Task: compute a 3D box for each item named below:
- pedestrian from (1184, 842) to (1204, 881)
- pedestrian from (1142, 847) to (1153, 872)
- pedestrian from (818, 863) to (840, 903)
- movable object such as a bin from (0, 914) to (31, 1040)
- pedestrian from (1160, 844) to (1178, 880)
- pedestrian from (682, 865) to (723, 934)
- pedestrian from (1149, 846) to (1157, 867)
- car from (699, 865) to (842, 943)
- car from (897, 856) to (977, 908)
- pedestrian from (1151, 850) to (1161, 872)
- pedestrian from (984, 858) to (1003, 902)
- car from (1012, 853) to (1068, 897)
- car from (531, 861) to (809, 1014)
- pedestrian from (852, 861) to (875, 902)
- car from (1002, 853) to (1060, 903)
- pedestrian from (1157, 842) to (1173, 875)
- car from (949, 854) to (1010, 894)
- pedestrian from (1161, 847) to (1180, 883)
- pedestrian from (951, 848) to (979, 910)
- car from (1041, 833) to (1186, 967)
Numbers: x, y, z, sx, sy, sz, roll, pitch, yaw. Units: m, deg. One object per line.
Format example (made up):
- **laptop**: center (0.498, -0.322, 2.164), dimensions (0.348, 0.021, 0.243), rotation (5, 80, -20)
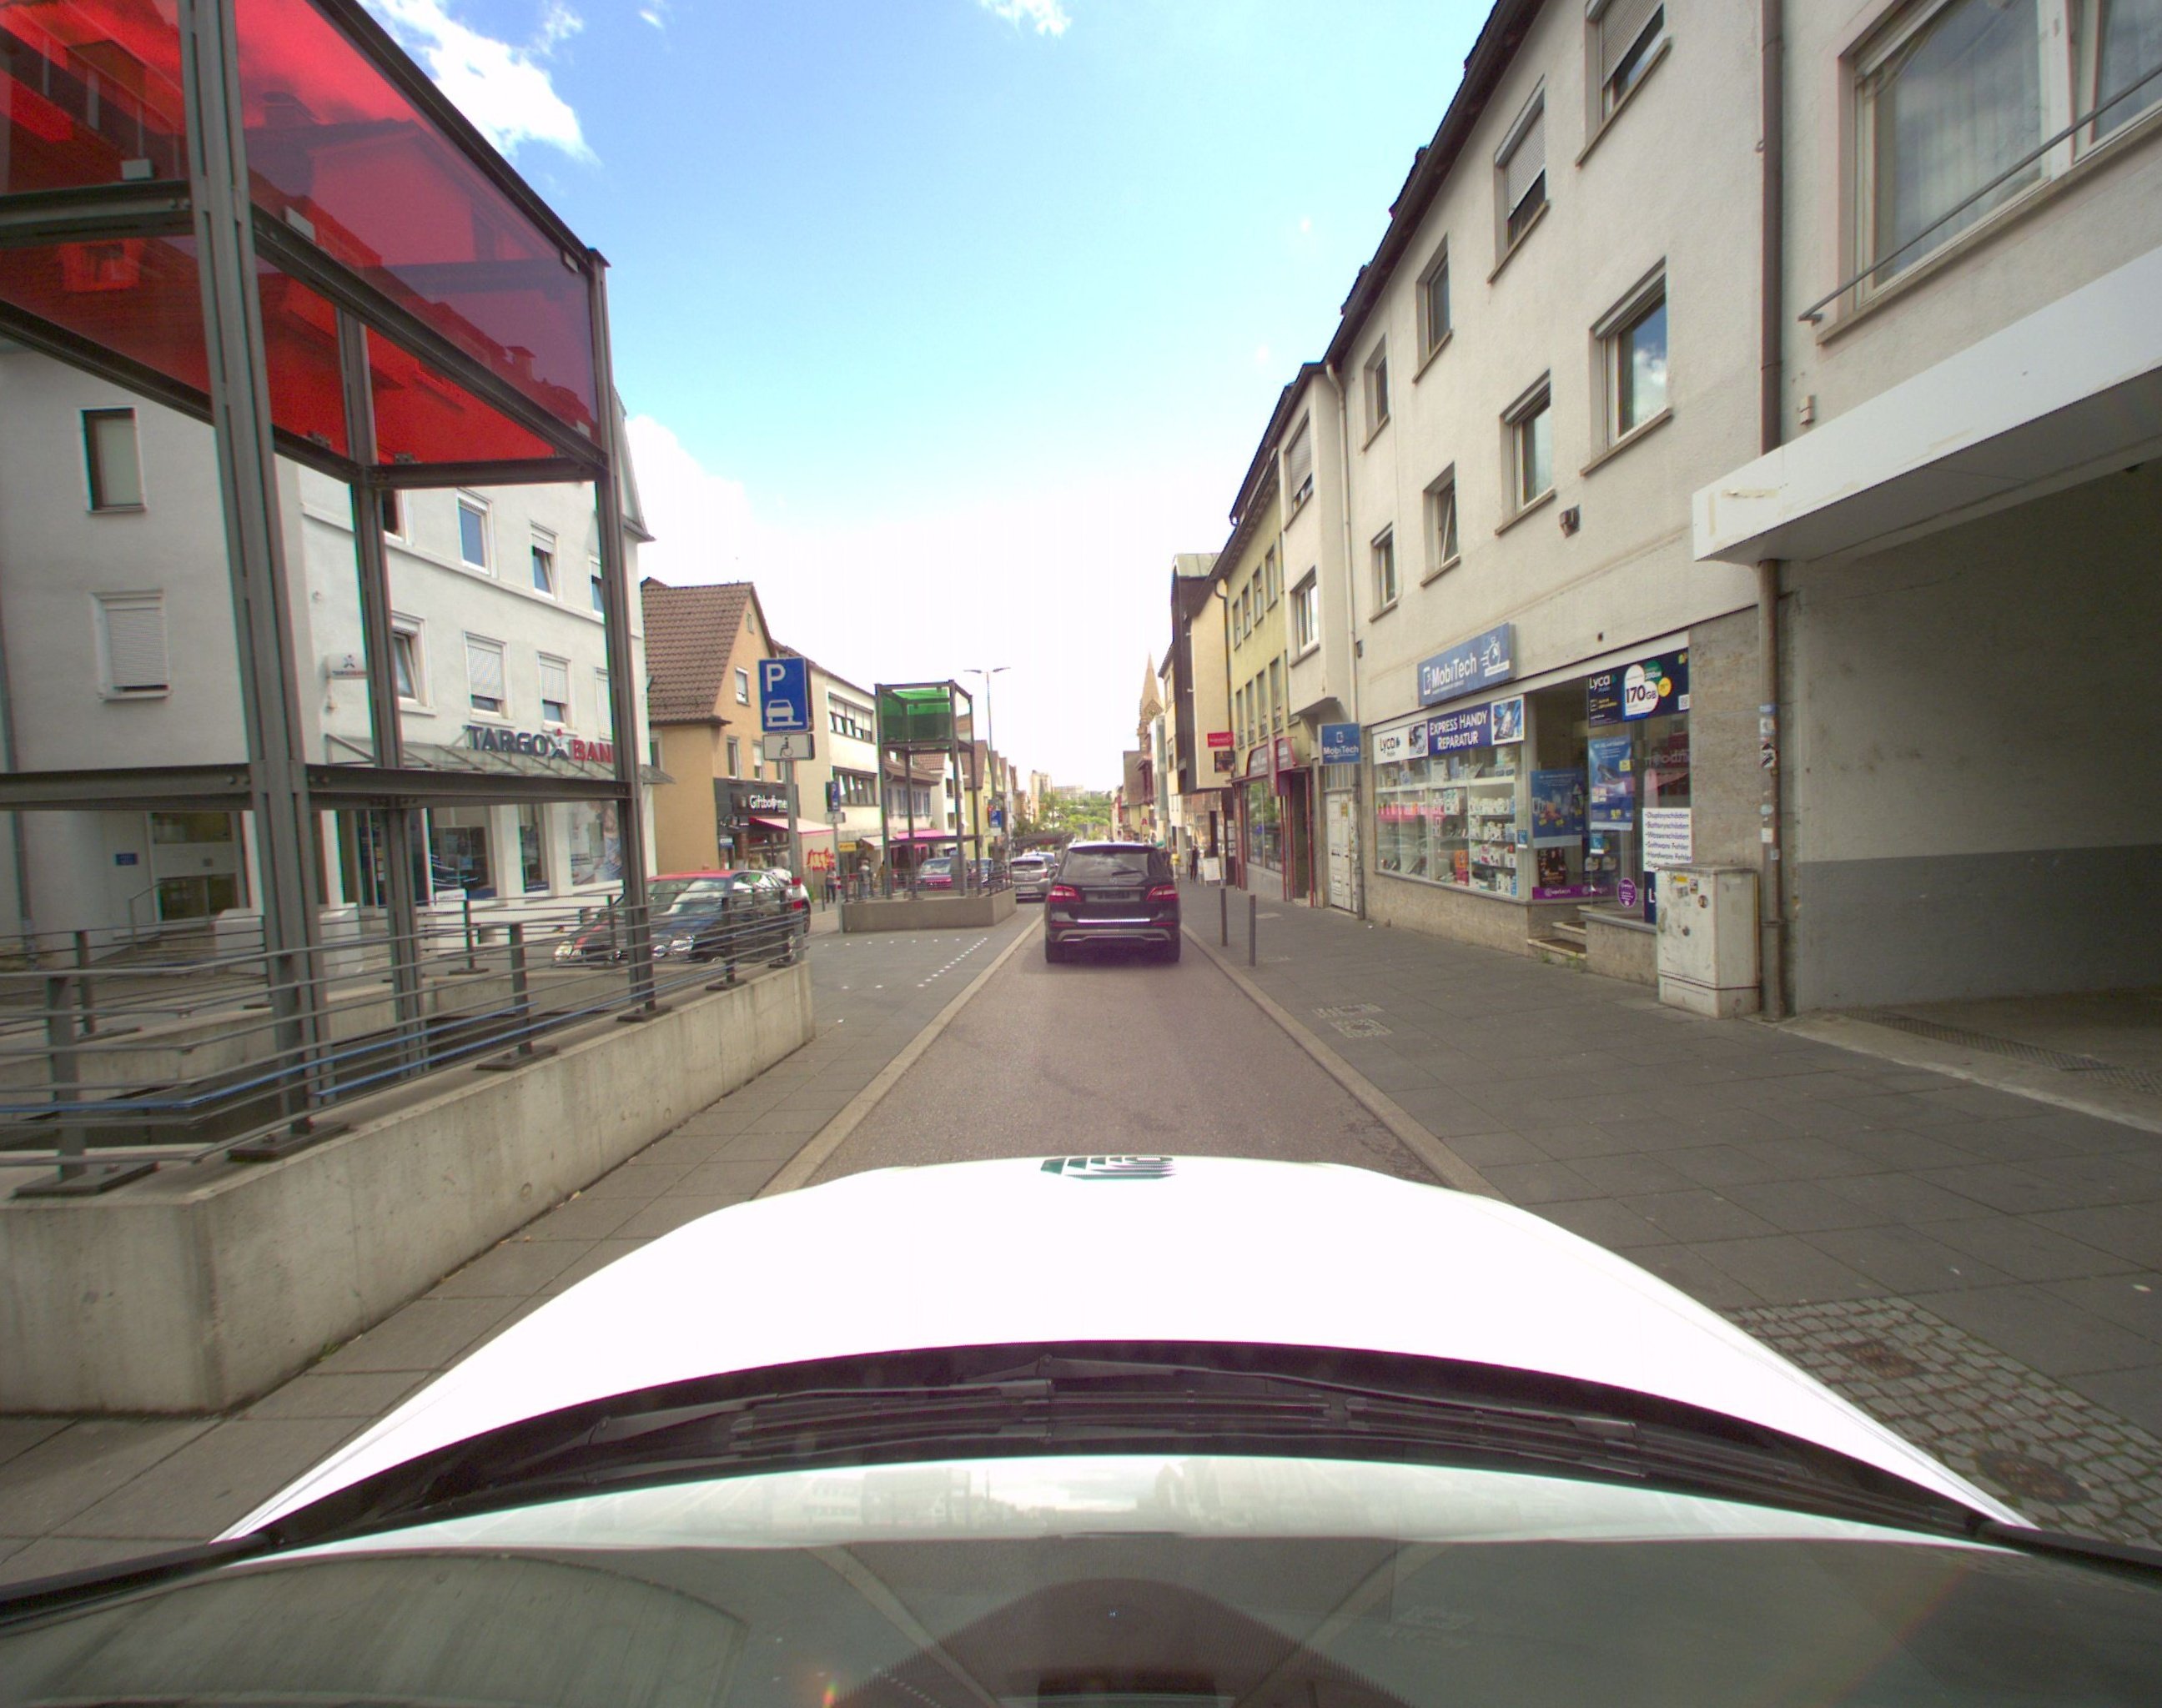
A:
- **pedestrian**: center (5.100, 0.337, 36.729), dimensions (0.662, 1.689, 0.542), rotation (-6, 0, -5)
- **pedestrian**: center (4.519, 0.373, 55.164), dimensions (0.620, 1.689, 0.565), rotation (0, -1, -5)
- **pedestrian**: center (-10.288, 1.167, 33.305), dimensions (0.563, 1.573, 0.716), rotation (-4, 0, 1)
- **movable object such as a bin**: center (-12.275, 1.376, 8.828), dimensions (0.687, 1.376, 0.808), rotation (-2, 0, 1)
- **pedestrian**: center (4.374, 0.384, 40.621), dimensions (0.708, 1.753, 0.785), rotation (-4, 0, 1)
- **pedestrian**: center (-9.670, 1.142, 20.835), dimensions (0.637, 1.689, 0.827), rotation (-1, -1, -1)
- **pedestrian**: center (5.708, 0.208, 64.497), dimensions (0.572, 1.689, 0.565), rotation (0, -1, -5)
- **car**: center (-7.109, 1.075, 19.108), dimensions (1.673, 1.571, 4.123), rotation (-1, 0, 1)
- **car**: center (-4.554, 0.842, 26.266), dimensions (1.733, 1.543, 4.194), rotation (-1, 0, 1)
- **pedestrian**: center (5.847, 0.561, 63.752), dimensions (0.572, 1.689, 0.565), rotation (-4, 0, -5)
- **pedestrian**: center (-2.948, 0.858, 27.447), dimensions (0.465, 1.431, 0.492), rotation (-4, 0, 1)
- **car**: center (-1.566, 0.800, 32.701), dimensions (1.949, 1.639, 4.315), rotation (-1, 0, 1)
- **car**: center (-4.807, 0.857, 10.188), dimensions (1.564, 1.475, 3.853), rotation (-2, 0, -2)
- **pedestrian**: center (-9.117, 1.143, 34.163), dimensions (0.638, 1.689, 0.670), rotation (-2, -1, 41)
- **car**: center (-1.610, 0.761, 27.369), dimensions (1.614, 1.532, 3.671), rotation (-1, 0, 1)
- **pedestrian**: center (4.446, 0.232, 43.123), dimensions (0.708, 1.753, 0.787), rotation (-2, 0, 1)
- **car**: center (-4.009, 0.748, 32.781), dimensions (1.731, 1.475, 3.888), rotation (0, 1, 4)
- **pedestrian**: center (4.216, 0.506, 38.515), dimensions (0.708, 1.631, 0.835), rotation (-4, 0, 1)
- **pedestrian**: center (-3.237, 0.687, 22.772), dimensions (0.531, 1.672, 0.902), rotation (-2, 0, 3)
- **car**: center (0.409, 0.610, 12.711), dimensions (1.895, 1.747, 3.999), rotation (0, 0, -1)
